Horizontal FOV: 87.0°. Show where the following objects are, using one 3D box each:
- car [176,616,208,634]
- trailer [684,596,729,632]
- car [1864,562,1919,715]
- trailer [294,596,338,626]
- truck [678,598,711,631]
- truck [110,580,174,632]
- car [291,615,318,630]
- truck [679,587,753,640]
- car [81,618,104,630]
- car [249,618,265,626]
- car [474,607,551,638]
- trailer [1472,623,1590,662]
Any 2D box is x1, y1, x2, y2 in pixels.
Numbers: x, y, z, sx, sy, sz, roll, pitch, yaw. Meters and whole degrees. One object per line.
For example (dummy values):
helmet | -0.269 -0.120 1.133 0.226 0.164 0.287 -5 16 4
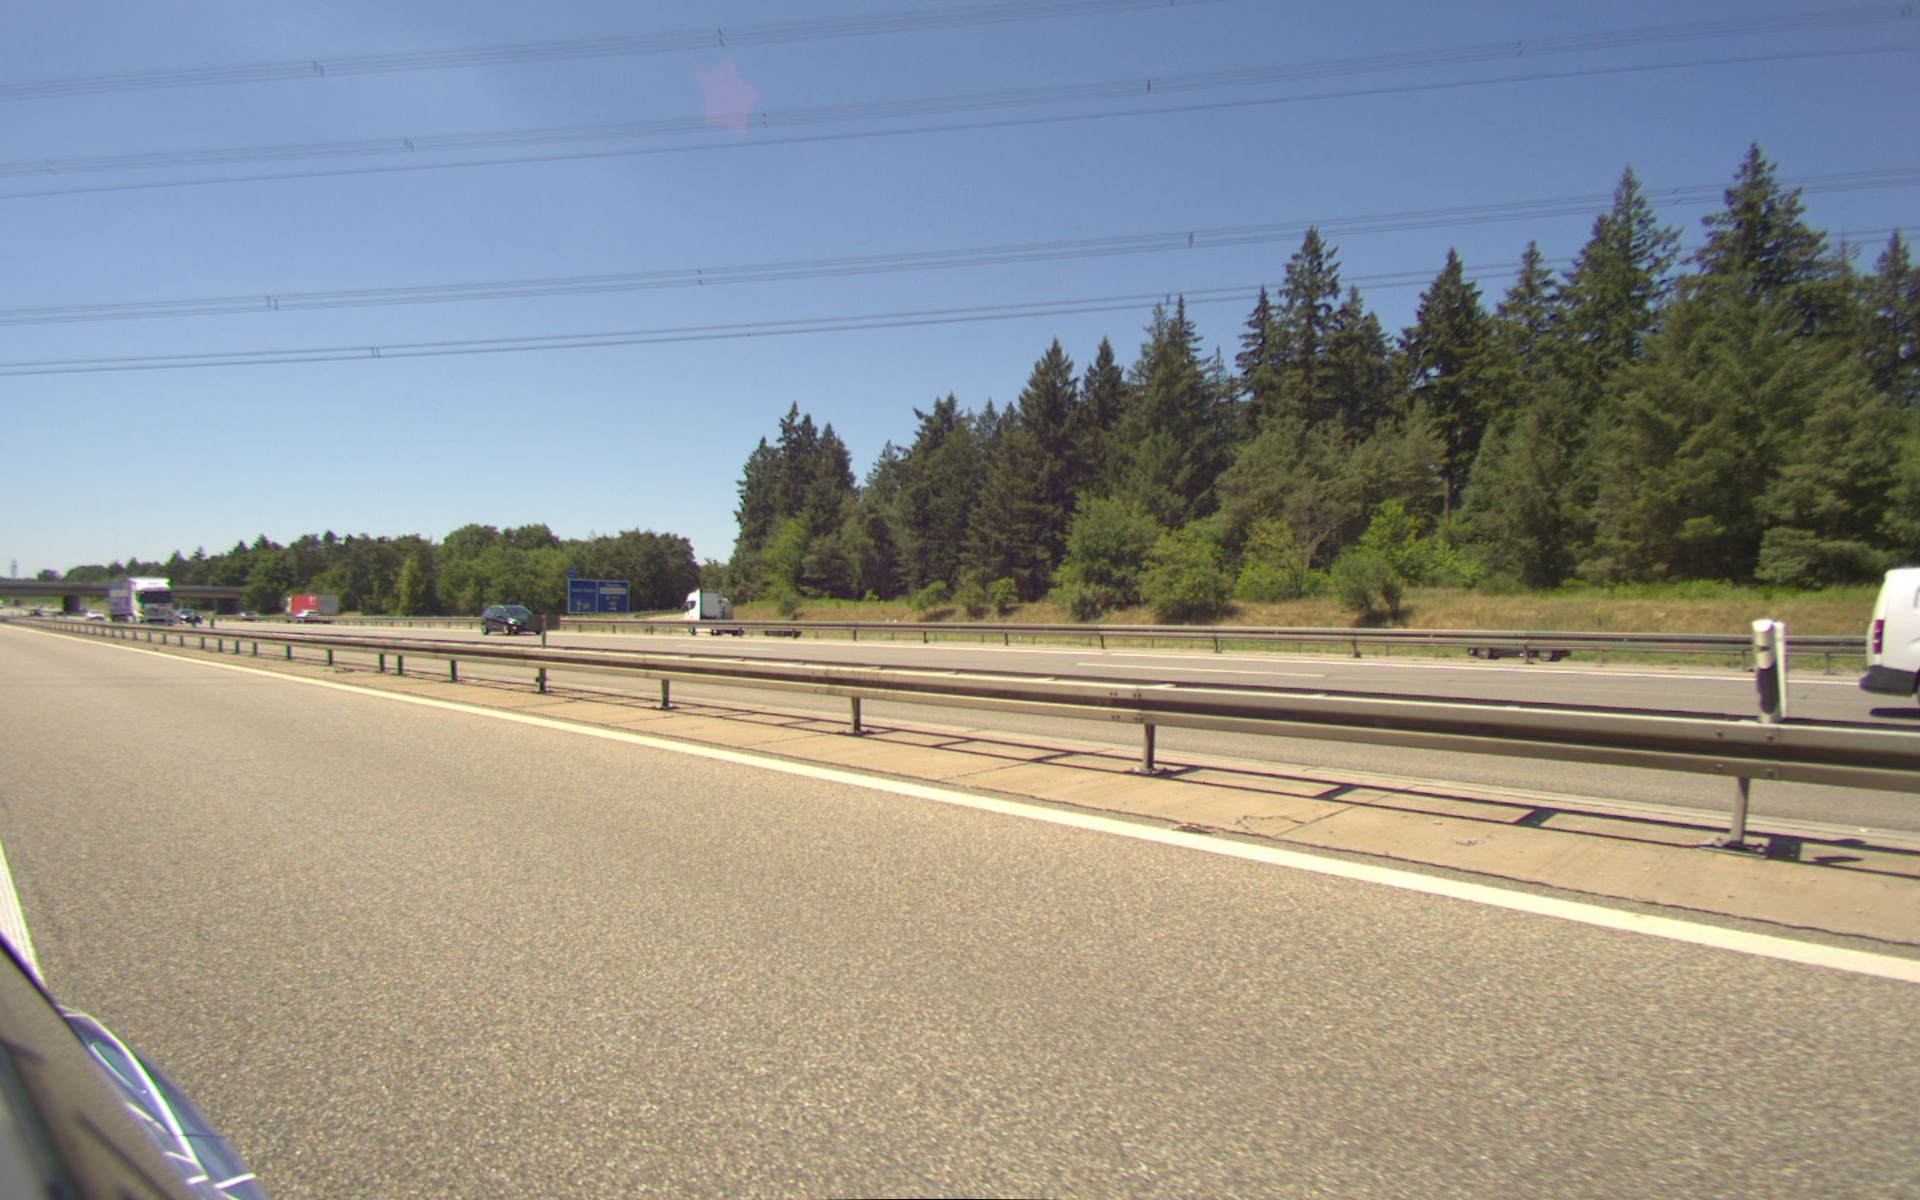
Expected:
car | -76.520 2.499 100.850 4.002 1.730 1.971 -1 -1 45
trailer | -28.237 1.556 112.493 2.733 3.827 8.964 0 -1 -28
car | 13.172 0.431 10.940 5.021 1.767 1.752 -1 -1 44
trailer | -90.093 1.616 141.374 2.512 3.826 13.750 1 -2 -44
truck | -30.765 1.707 117.269 2.729 3.826 4.012 0 -1 -29
truck | -68.391 0.568 84.531 11.048 4.089 2.673 -1 -1 43
car | -82.055 2.761 126.586 4.826 1.696 1.752 1 0 44
truck | -21.338 1.087 88.260 2.827 4.377 7.535 1 0 -45
car | -123.862 3.404 144.545 3.998 1.580 1.973 -1 -1 41
car | -149.693 4.709 215.570 3.998 1.663 1.972 -1 -1 42
car | -22.577 1.095 51.026 4.241 1.487 1.973 -1 -1 41
trailer | 26.670 1.952 47.332 4.459 1.681 1.972 -1 -1 43
